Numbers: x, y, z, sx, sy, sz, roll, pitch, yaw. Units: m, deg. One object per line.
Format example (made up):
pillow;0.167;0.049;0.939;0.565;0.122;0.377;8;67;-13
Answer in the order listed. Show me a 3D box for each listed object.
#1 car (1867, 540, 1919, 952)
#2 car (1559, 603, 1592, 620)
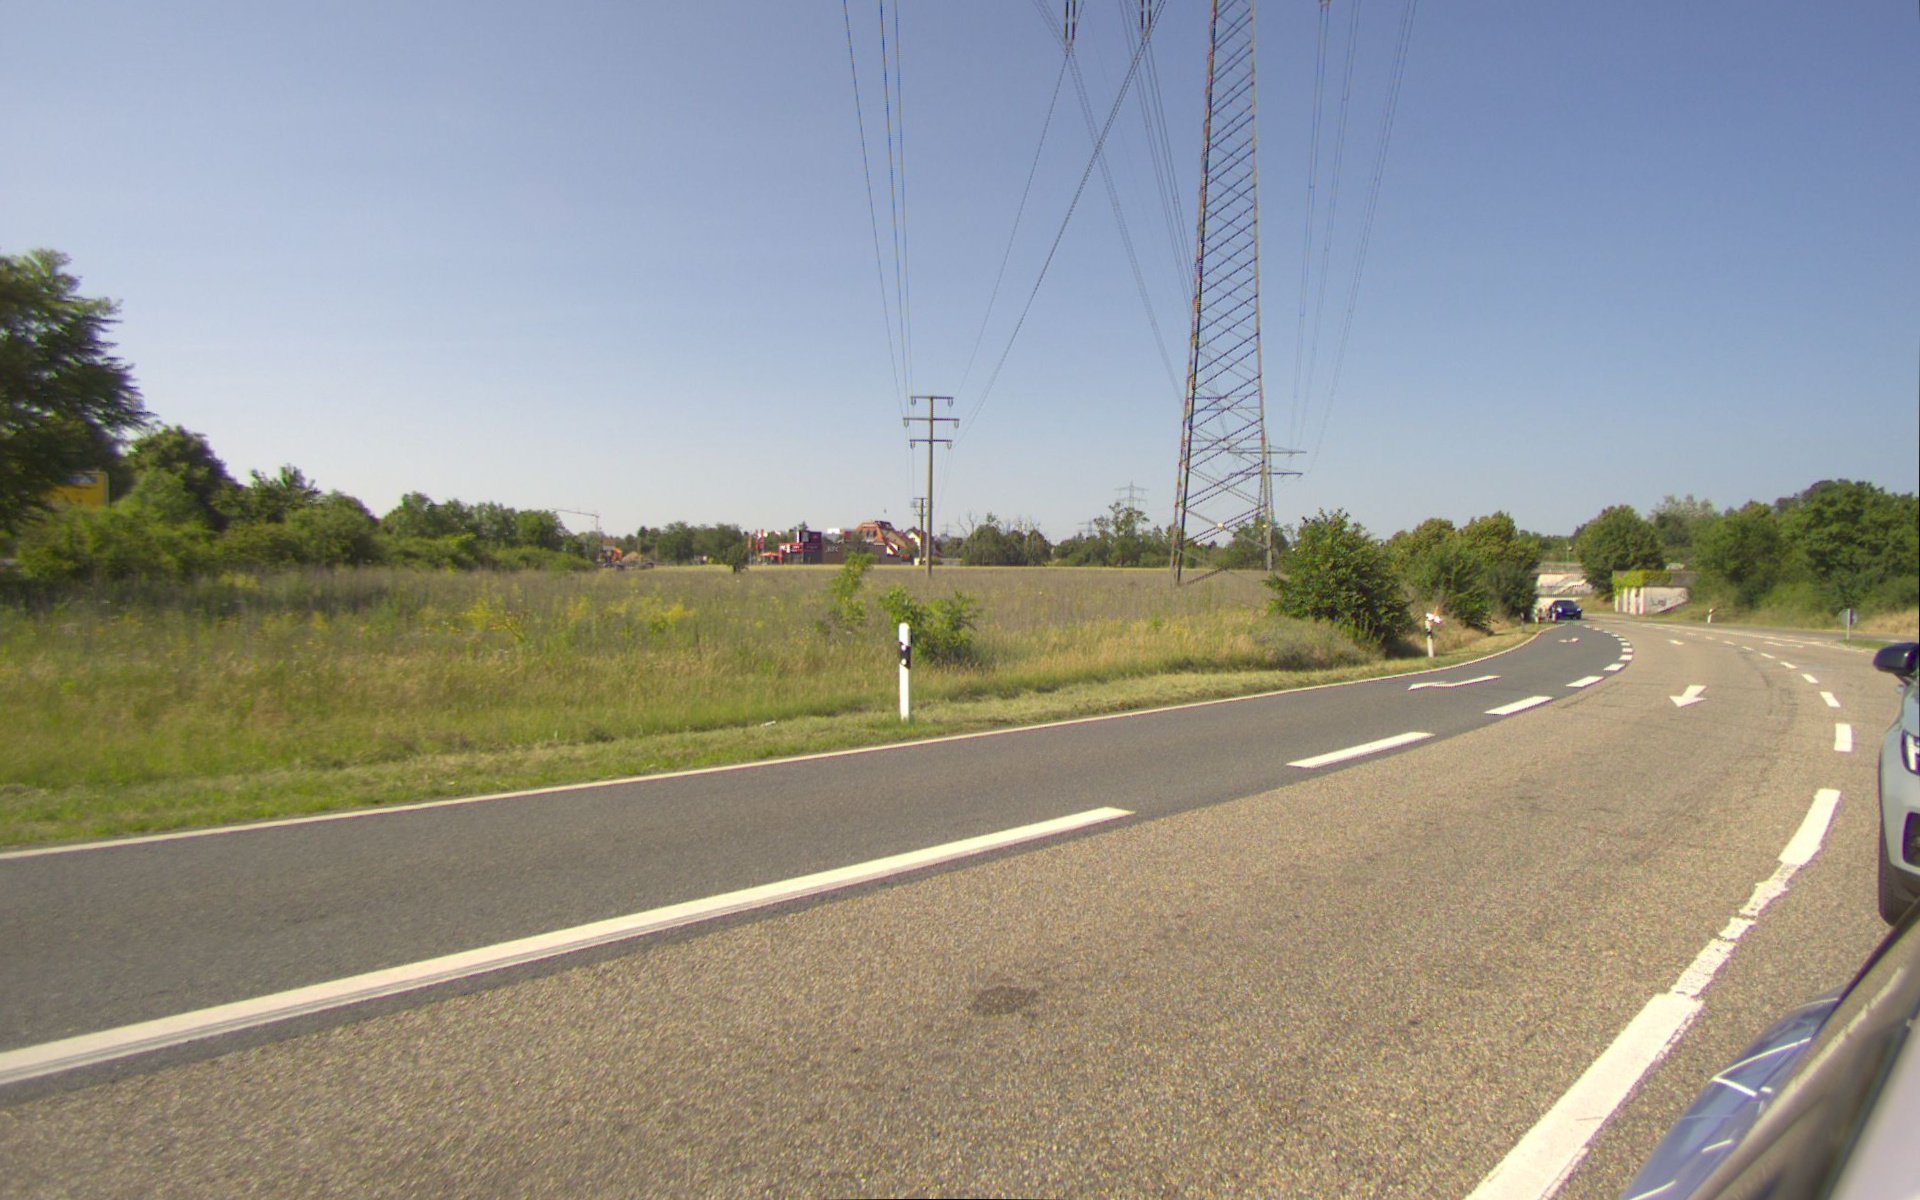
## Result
car;5.671;0.597;4.617;3.583;1.640;1.858;0;0;-41
car;52.627;0.947;86.576;1.878;1.369;3.507;-1;0;23
